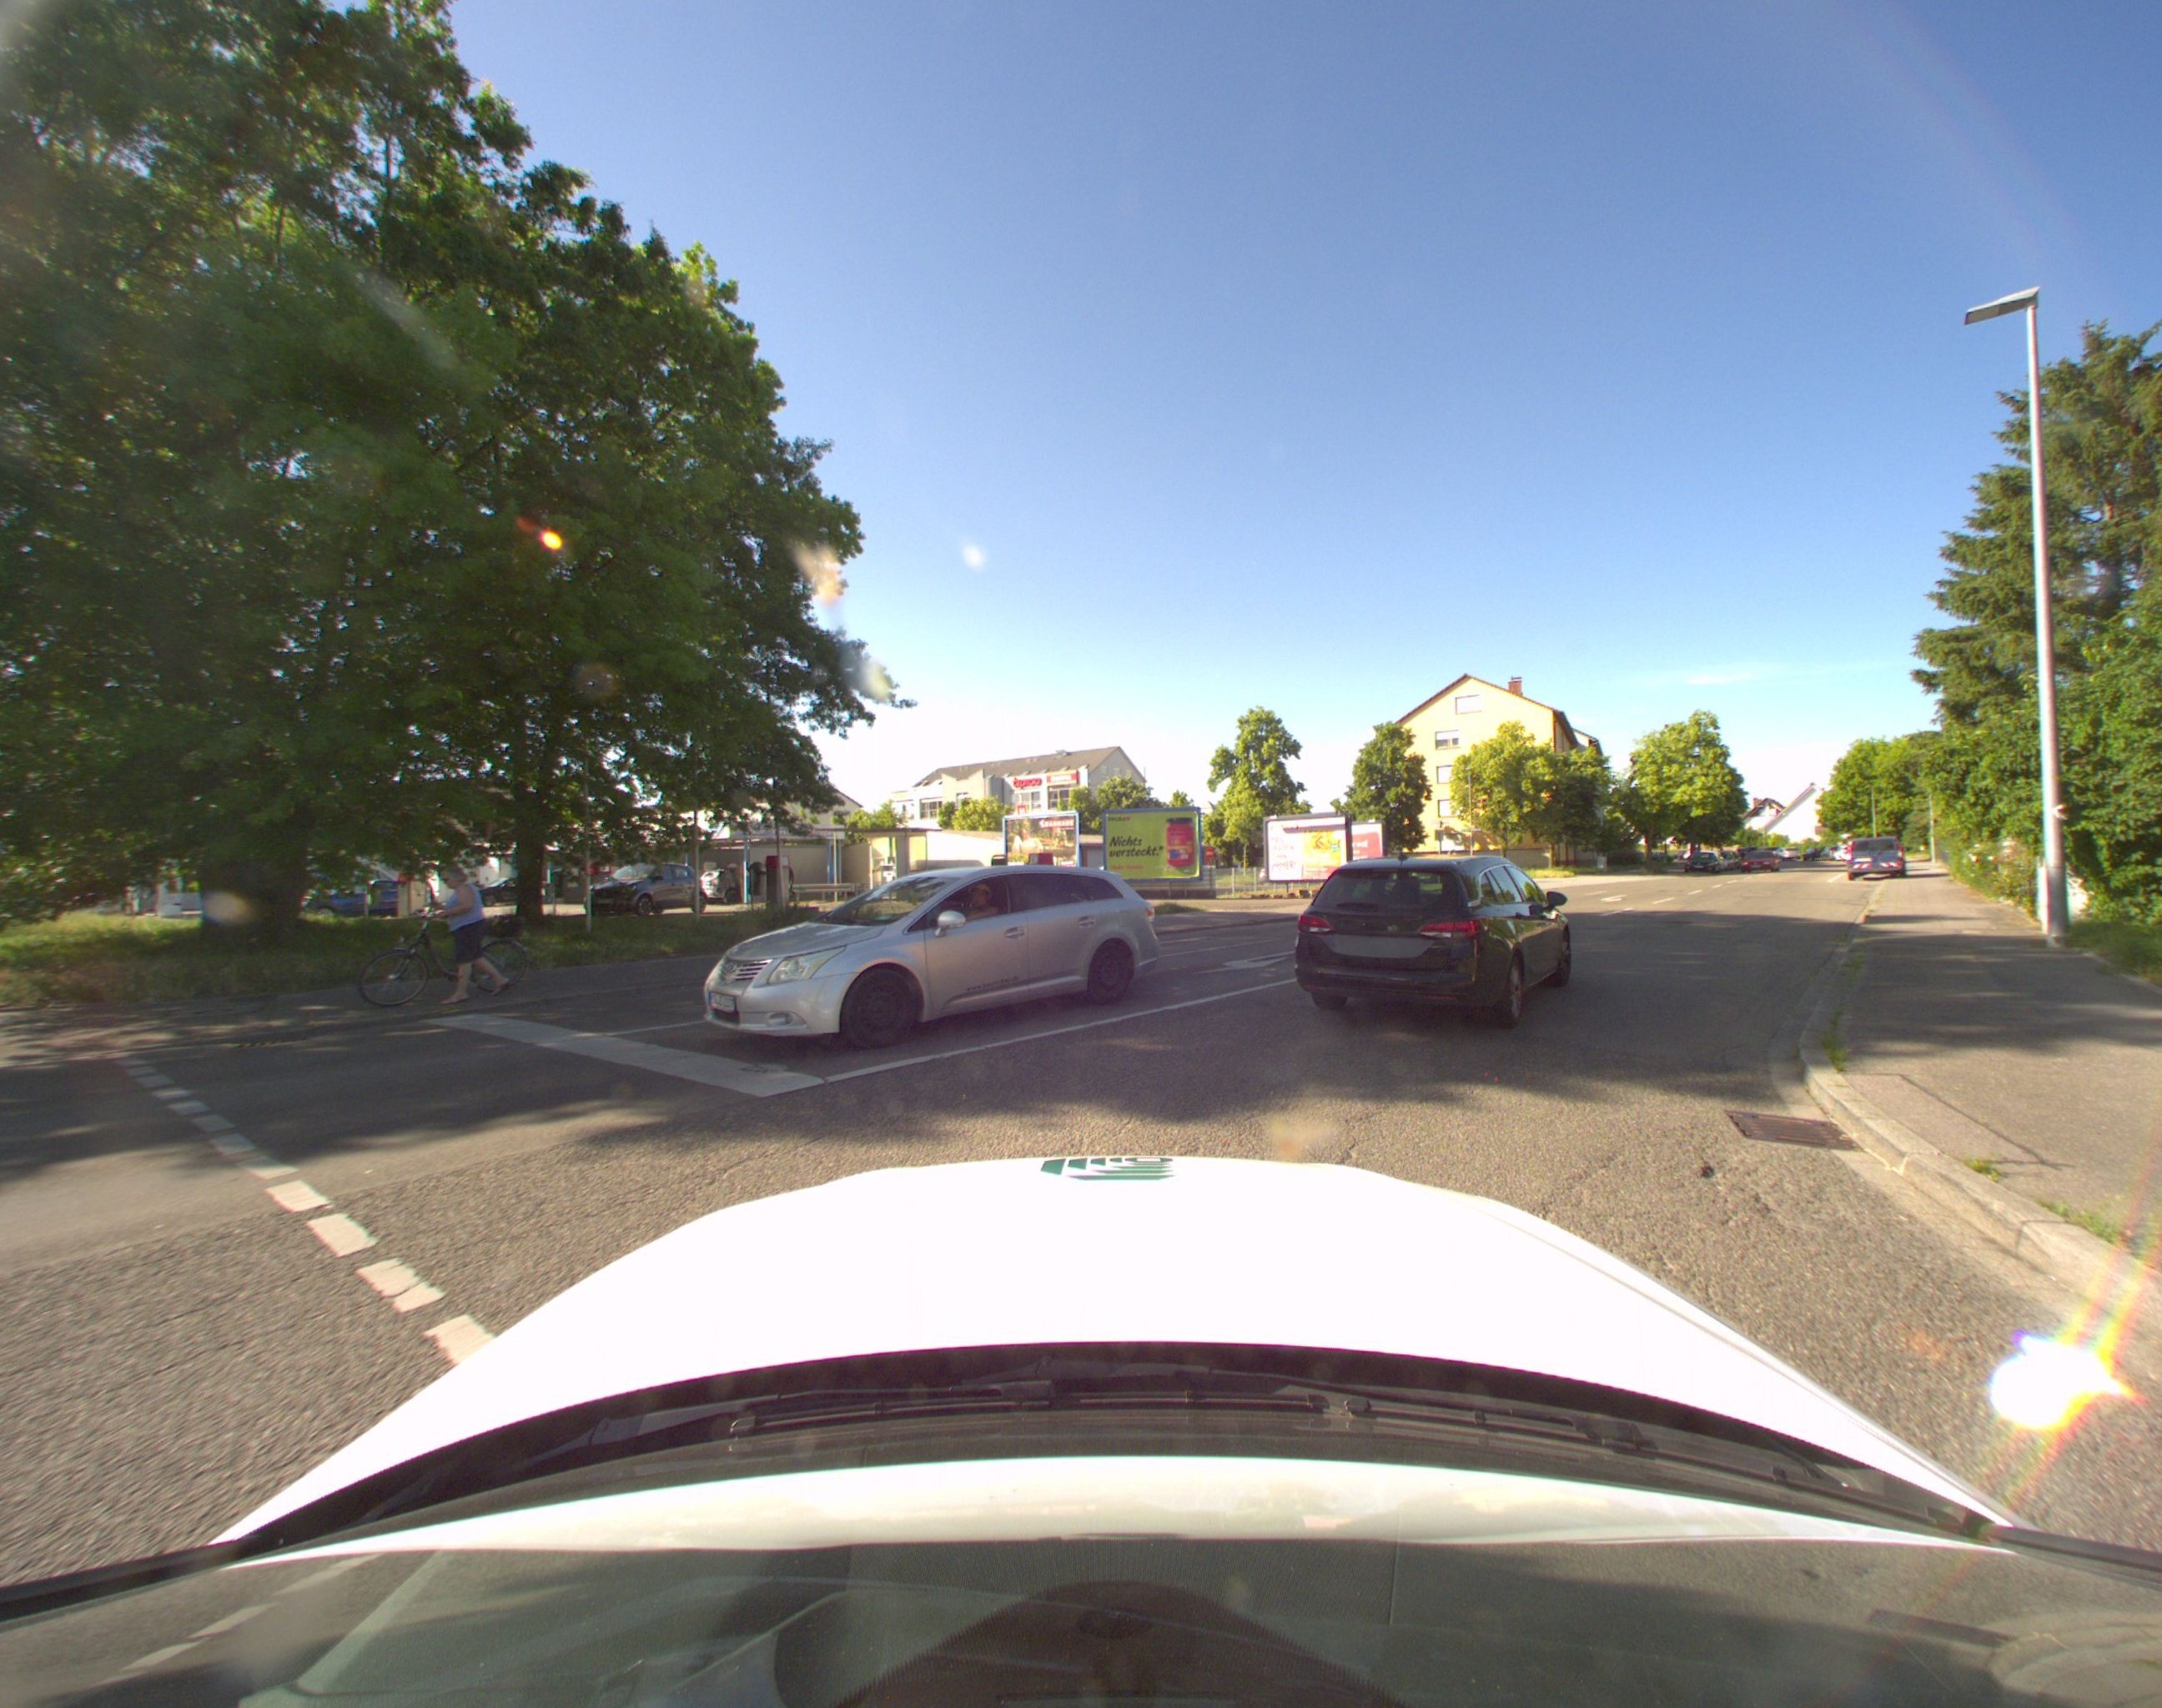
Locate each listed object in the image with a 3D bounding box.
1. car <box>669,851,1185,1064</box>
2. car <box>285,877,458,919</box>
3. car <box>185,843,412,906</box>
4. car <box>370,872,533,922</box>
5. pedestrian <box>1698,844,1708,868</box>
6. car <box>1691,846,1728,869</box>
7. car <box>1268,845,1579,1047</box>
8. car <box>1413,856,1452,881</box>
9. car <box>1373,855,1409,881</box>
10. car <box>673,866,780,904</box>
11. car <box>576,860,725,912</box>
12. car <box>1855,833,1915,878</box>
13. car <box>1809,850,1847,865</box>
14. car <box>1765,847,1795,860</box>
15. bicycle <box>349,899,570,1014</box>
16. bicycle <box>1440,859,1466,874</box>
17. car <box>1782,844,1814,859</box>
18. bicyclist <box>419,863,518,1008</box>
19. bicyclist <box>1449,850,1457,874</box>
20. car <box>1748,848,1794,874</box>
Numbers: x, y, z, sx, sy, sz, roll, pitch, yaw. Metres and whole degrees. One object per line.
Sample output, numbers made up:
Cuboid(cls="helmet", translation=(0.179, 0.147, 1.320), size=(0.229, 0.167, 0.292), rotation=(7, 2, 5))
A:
Cuboid(cls="car", translation=(-1.216, 0.777, 8.231), size=(4.918, 1.489, 1.819), rotation=(-1, -2, -45))
Cuboid(cls="car", translation=(-24.012, 1.492, 27.750), size=(1.778, 1.335, 4.021), rotation=(-2, -3, 22))
Cuboid(cls="car", translation=(-28.692, 0.807, 30.124), size=(1.974, 2.099, 5.688), rotation=(-3, -3, 33))
Cuboid(cls="car", translation=(-20.898, 1.428, 27.245), size=(1.513, 1.512, 4.021), rotation=(-2, -3, 24))
Cuboid(cls="pedestrian", translation=(47.271, 0.145, 61.859), size=(0.499, 1.761, 0.699), rotation=(-3, -4, 42))
Cuboid(cls="car", translation=(42.722, 0.244, 55.318), size=(1.684, 1.480, 4.076), rotation=(0, -1, 42))
Cuboid(cls="car", translation=(3.678, 0.700, 8.240), size=(1.745, 1.491, 4.318), rotation=(-1, -1, 39))
Cuboid(cls="car", translation=(23.449, 0.952, 54.324), size=(1.712, 1.464, 3.906), rotation=(-3, -1, 33))
Cuboid(cls="car", translation=(21.547, 0.943, 56.477), size=(1.681, 1.622, 3.905), rotation=(-2, -1, 30))
Cuboid(cls="car", translation=(-15.944, 1.415, 36.832), size=(1.974, 1.607, 4.024), rotation=(-3, -3, 32))
Cuboid(cls="car", translation=(-12.463, 0.959, 23.910), size=(1.743, 1.376, 4.010), rotation=(-1, -3, 10))
Cuboid(cls="car", translation=(36.941, 0.059, 37.366), size=(4.725, 1.908, 1.820), rotation=(-1, -1, -44))
Cuboid(cls="car", translation=(78.980, 0.341, 86.131), size=(1.986, 1.475, 4.320), rotation=(-3, -2, 30))
Cuboid(cls="car", translation=(85.430, -0.051, 99.572), size=(1.803, 1.534, 4.285), rotation=(-3, -2, 29))
Cuboid(cls="bicycle", translation=(-7.405, 1.170, 9.811), size=(0.522, 1.141, 2.039), rotation=(-2, -1, 39))
Cuboid(cls="bicycle", translation=(26.180, 0.911, 57.319), size=(1.605, 1.011, 0.408), rotation=(-1, -3, 14))
Cuboid(cls="car", translation=(83.167, -0.269, 94.534), size=(1.803, 1.534, 4.285), rotation=(-3, -2, 29))
Cuboid(cls="bicyclist", translation=(-7.391, 0.949, 9.843), size=(0.535, 1.641, 0.835), rotation=(-2, -1, 39))
Cuboid(cls="bicyclist", translation=(26.198, 0.579, 57.336), size=(0.385, 1.686, 0.383), rotation=(-1, -3, 14))
Cuboid(cls="car", translation=(45.453, 0.412, 53.603), size=(1.993, 1.568, 4.419), rotation=(-1, 0, 44))
